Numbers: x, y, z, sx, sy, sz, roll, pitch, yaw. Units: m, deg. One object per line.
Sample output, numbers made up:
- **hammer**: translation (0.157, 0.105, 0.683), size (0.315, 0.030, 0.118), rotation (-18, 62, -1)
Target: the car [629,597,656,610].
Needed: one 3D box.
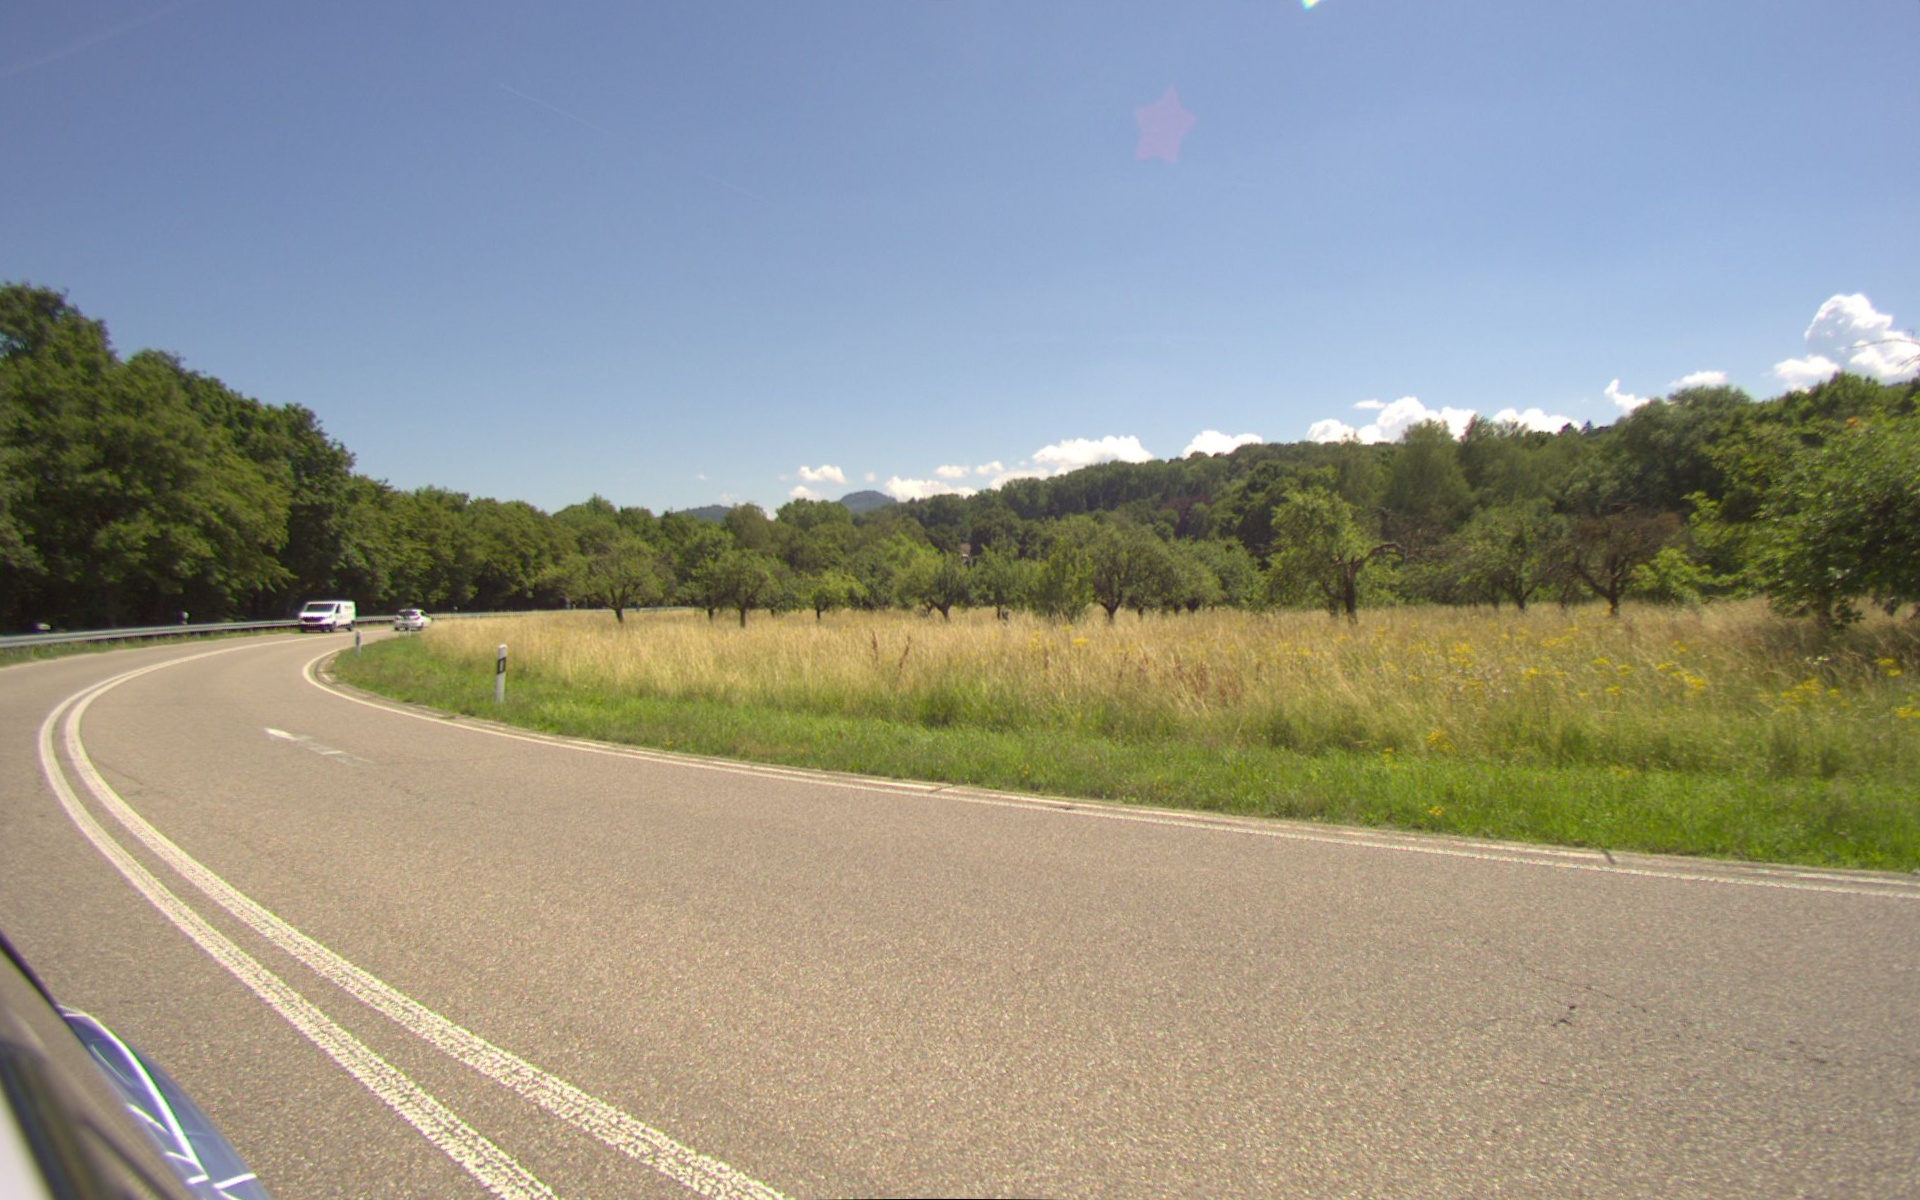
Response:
- **car**: translation (-39.520, 0.422, 126.000), size (1.804, 1.469, 4.397), rotation (3, 1, 2)

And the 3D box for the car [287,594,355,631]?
- **car**: translation (-41.039, 0.776, 65.129), size (2.188, 2.048, 5.443), rotation (3, 1, -16)

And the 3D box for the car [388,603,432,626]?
- **car**: translation (-38.415, 1.031, 70.775), size (1.797, 1.518, 4.184), rotation (2, -2, -16)
